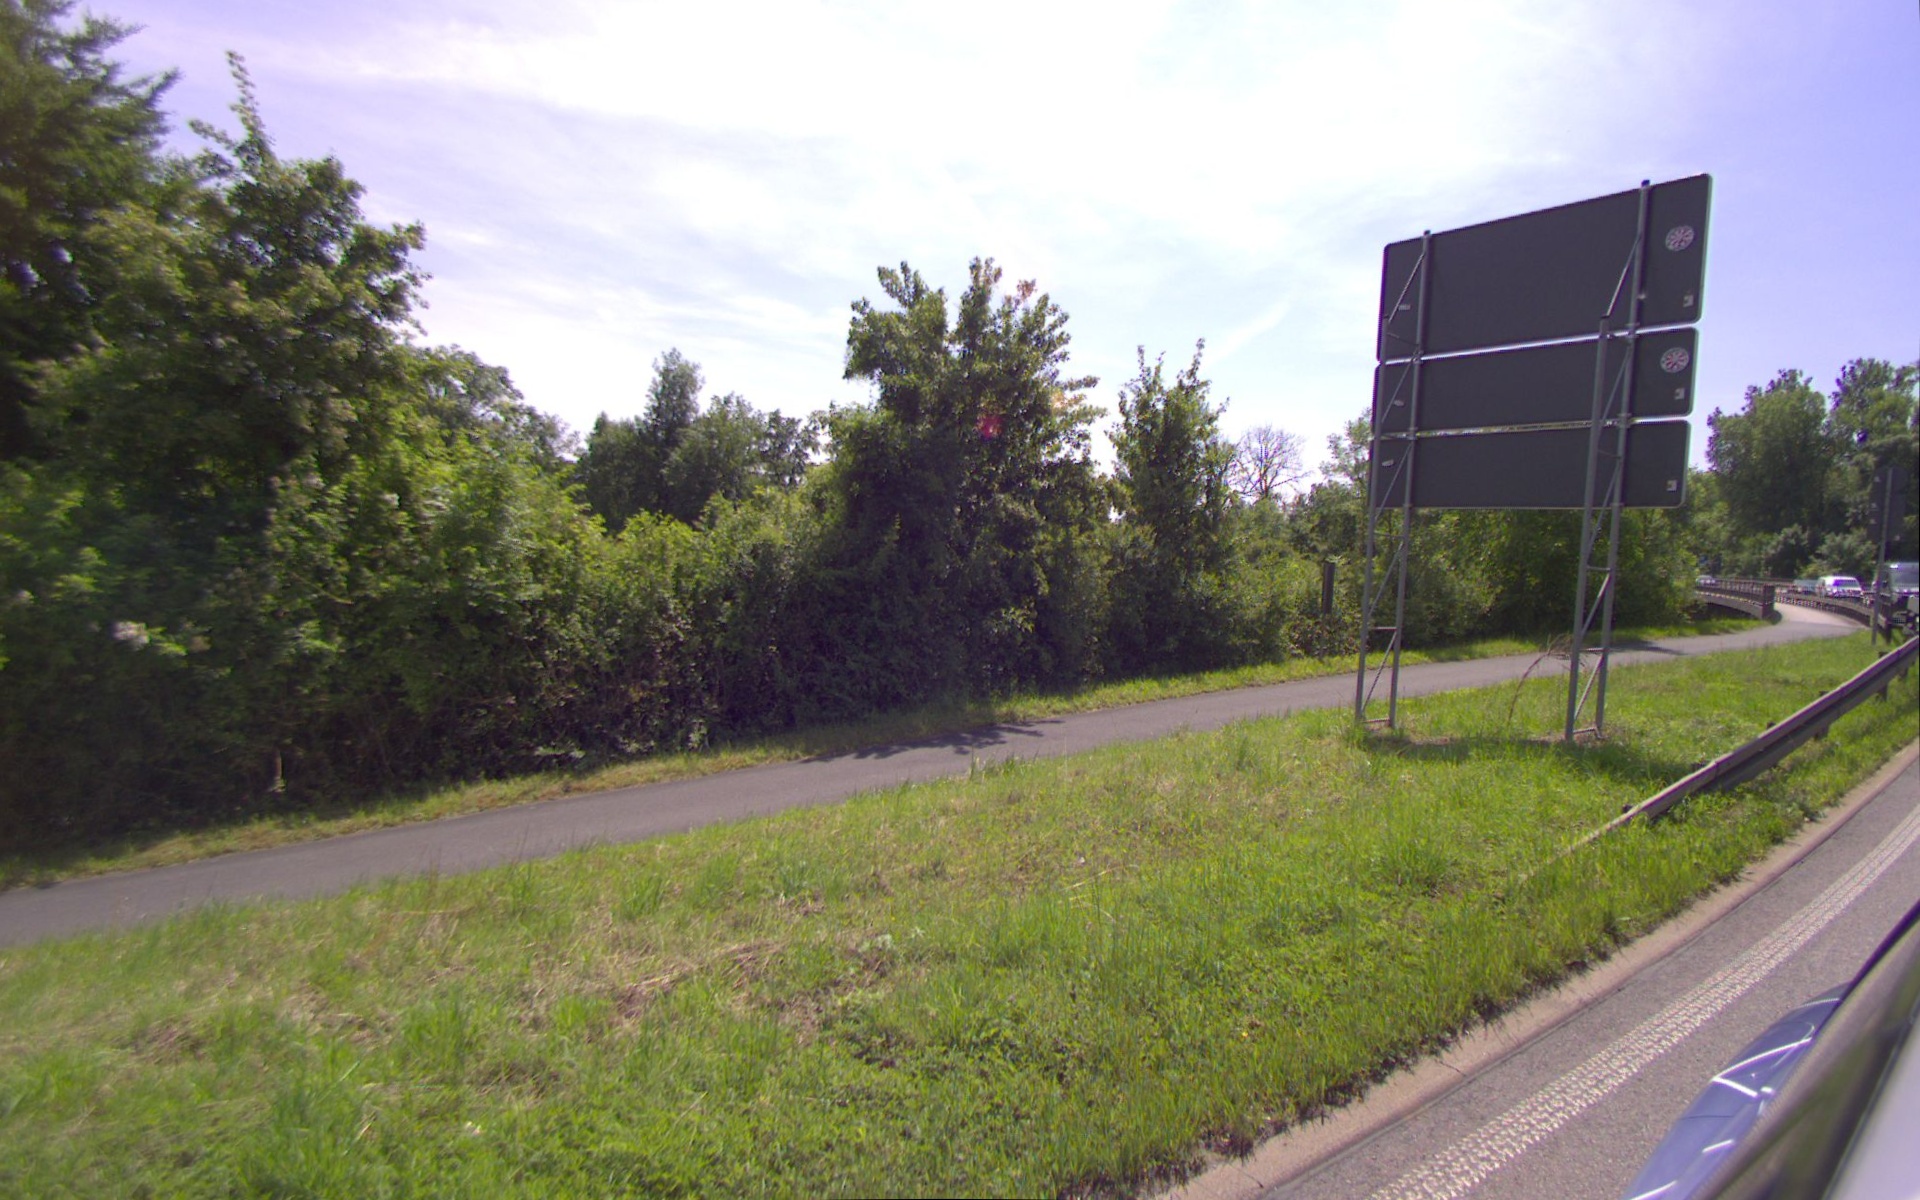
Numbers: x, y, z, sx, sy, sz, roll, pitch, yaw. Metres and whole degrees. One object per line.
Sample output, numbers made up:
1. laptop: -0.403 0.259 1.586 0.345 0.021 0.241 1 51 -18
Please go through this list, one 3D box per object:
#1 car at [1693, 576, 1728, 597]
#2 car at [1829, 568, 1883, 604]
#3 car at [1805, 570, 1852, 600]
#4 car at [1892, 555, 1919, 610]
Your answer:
1. car: 76.083 -1.415 102.639 1.977 2.038 3.971 -1 2 23
2. car: 55.124 -0.891 62.346 1.987 2.038 4.654 0 2 35
3. car: 62.875 -1.117 73.315 1.985 2.038 3.955 0 2 33
4. car: 46.325 -0.876 48.542 1.989 2.515 4.794 0 2 38
